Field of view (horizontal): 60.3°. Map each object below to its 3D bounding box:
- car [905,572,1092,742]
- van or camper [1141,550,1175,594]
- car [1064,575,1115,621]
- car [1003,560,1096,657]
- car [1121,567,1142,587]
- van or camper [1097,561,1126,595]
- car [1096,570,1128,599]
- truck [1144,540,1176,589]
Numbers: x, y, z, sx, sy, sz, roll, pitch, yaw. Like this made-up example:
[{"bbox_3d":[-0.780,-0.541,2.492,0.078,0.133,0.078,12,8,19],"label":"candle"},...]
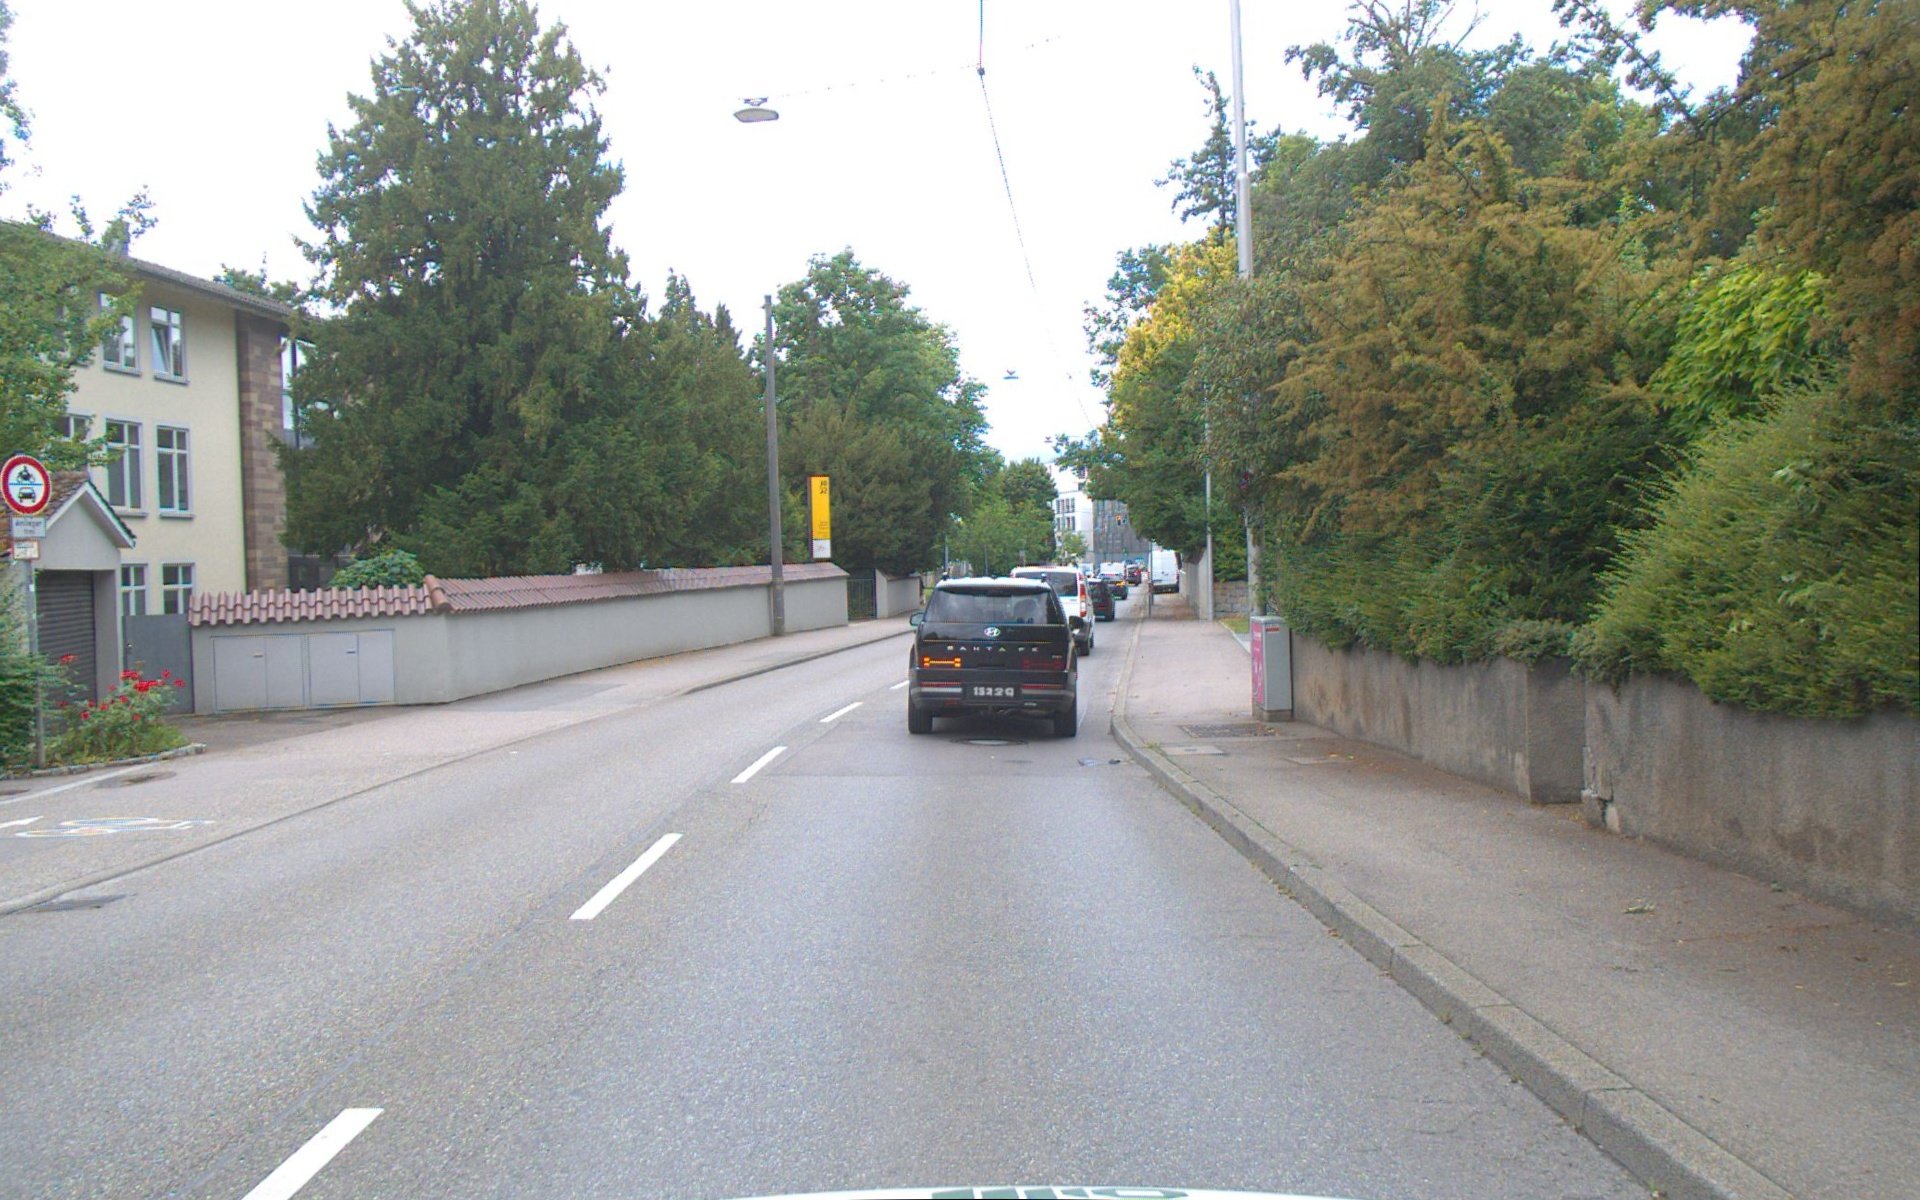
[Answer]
[{"bbox_3d":[0.369,0.588,19.301,1.917,1.743,4.222,1,0,-1],"label":"car"},{"bbox_3d":[12.577,-1.805,105.171,2.000,2.623,5.254,-2,1,7],"label":"van or camper"},{"bbox_3d":[4.609,-0.093,58.472,1.640,1.447,3.941,-2,1,7],"label":"car"},{"bbox_3d":[2.049,0.130,36.877,1.916,1.989,4.226,1,2,4],"label":"car"},{"bbox_3d":[14.360,-1.917,138.513,1.640,1.568,3.941,-2,1,7],"label":"car"},{"bbox_3d":[9.652,-1.393,105.125,1.640,2.042,3.941,-2,1,7],"label":"van or camper"},{"bbox_3d":[8.479,-0.879,92.114,1.640,1.447,3.941,-2,1,7],"label":"car"},{"bbox_3d":[15.040,-2.690,124.420,2.232,3.499,5.981,-2,1,7],"label":"truck"}]
